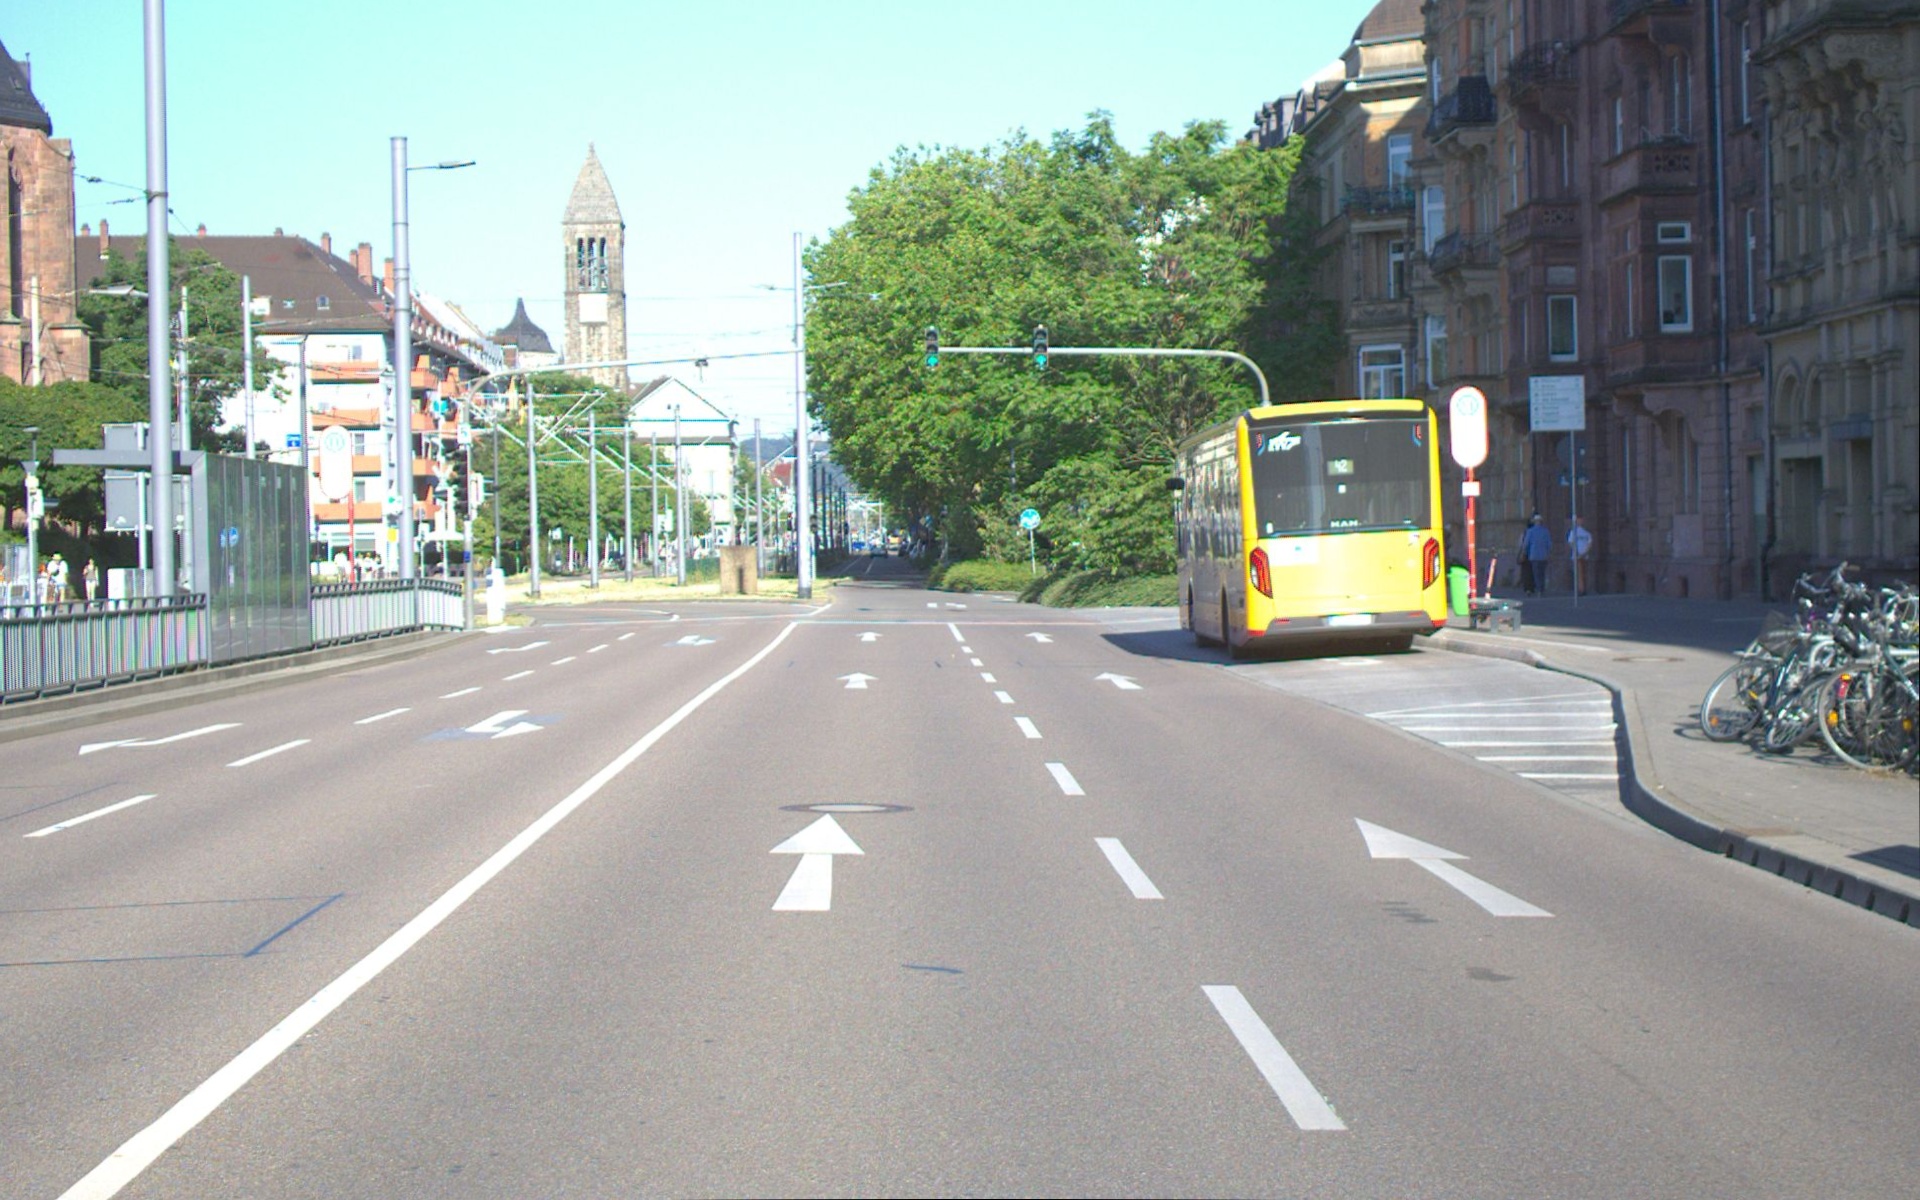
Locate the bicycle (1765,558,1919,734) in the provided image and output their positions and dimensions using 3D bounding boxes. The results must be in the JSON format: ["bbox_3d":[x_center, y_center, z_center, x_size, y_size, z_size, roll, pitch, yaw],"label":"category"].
[{"bbox_3d":[6.501,0.311,23.750,1.765,1.183,0.470,-1,2,-1],"label":"bicycle"}]

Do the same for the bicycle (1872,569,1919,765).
[{"bbox_3d":[6.573,0.399,21.215,1.765,1.183,0.470,-1,2,-1],"label":"bicycle"}]

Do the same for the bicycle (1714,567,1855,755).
[{"bbox_3d":[5.416,0.378,22.654,0.468,1.143,1.771,-1,2,-1],"label":"bicycle"}]

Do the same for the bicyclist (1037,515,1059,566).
[{"bbox_3d":[3.217,-2.172,125.650,0.641,1.808,1.052,-2,0,-2],"label":"bicyclist"}]

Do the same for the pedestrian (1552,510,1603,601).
[{"bbox_3d":[13.170,-0.953,73.349,0.822,1.923,1.137,-1,1,-1],"label":"pedestrian"}]

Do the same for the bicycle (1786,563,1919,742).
[{"bbox_3d":[6.528,0.345,23.244,1.765,1.183,0.470,-1,2,-1],"label":"bicycle"}]

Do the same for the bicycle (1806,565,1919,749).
[{"bbox_3d":[6.538,0.366,22.742,1.765,1.183,0.470,-1,2,-1],"label":"bicycle"}]

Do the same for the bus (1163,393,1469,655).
[{"bbox_3d":[4.811,-1.073,49.162,2.715,3.170,12.542,-2,1,-1],"label":"bus"}]

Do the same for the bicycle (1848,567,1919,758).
[{"bbox_3d":[6.553,0.382,21.715,1.765,1.183,0.470,-1,2,-1],"label":"bicycle"}]

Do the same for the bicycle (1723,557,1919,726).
[{"bbox_3d":[6.425,0.294,24.742,1.765,1.183,0.470,-1,2,-1],"label":"bicycle"}]

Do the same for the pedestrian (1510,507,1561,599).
[{"bbox_3d":[12.271,-0.999,73.342,0.822,1.923,1.137,-1,1,-1],"label":"pedestrian"}]

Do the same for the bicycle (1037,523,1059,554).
[{"bbox_3d":[3.205,-2.241,125.671,0.641,1.044,2.360,-2,0,-2],"label":"bicycle"}]

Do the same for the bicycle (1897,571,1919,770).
[{"bbox_3d":[6.595,0.411,20.717,1.765,1.174,0.470,-1,2,-1],"label":"bicycle"}]

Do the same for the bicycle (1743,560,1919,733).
[{"bbox_3d":[6.473,0.322,24.241,1.791,1.183,0.470,-1,2,-1],"label":"bicycle"}]

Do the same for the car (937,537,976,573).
[{"bbox_3d":[-0.165,-2.049,155.151,1.643,1.506,4.183,-2,1,0],"label":"car"}]

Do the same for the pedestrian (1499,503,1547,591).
[{"bbox_3d":[12.421,-1.174,75.874,0.822,1.923,1.137,-1,1,-1],"label":"pedestrian"}]

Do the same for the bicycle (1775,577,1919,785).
[{"bbox_3d":[5.475,0.462,19.944,0.468,1.143,1.771,-1,2,-24],"label":"bicycle"}]

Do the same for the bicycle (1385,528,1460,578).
[{"bbox_3d":[12.279,-1.242,91.255,1.883,1.234,0.491,-3,0,-13],"label":"bicycle"}]

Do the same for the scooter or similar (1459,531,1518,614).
[{"bbox_3d":[8.122,-0.418,52.882,0.431,1.245,1.295,-3,0,-10],"label":"scooter or similar"}]

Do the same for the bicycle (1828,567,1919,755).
[{"bbox_3d":[6.554,0.382,22.223,1.765,1.183,0.470,-1,2,-1],"label":"bicycle"}]
